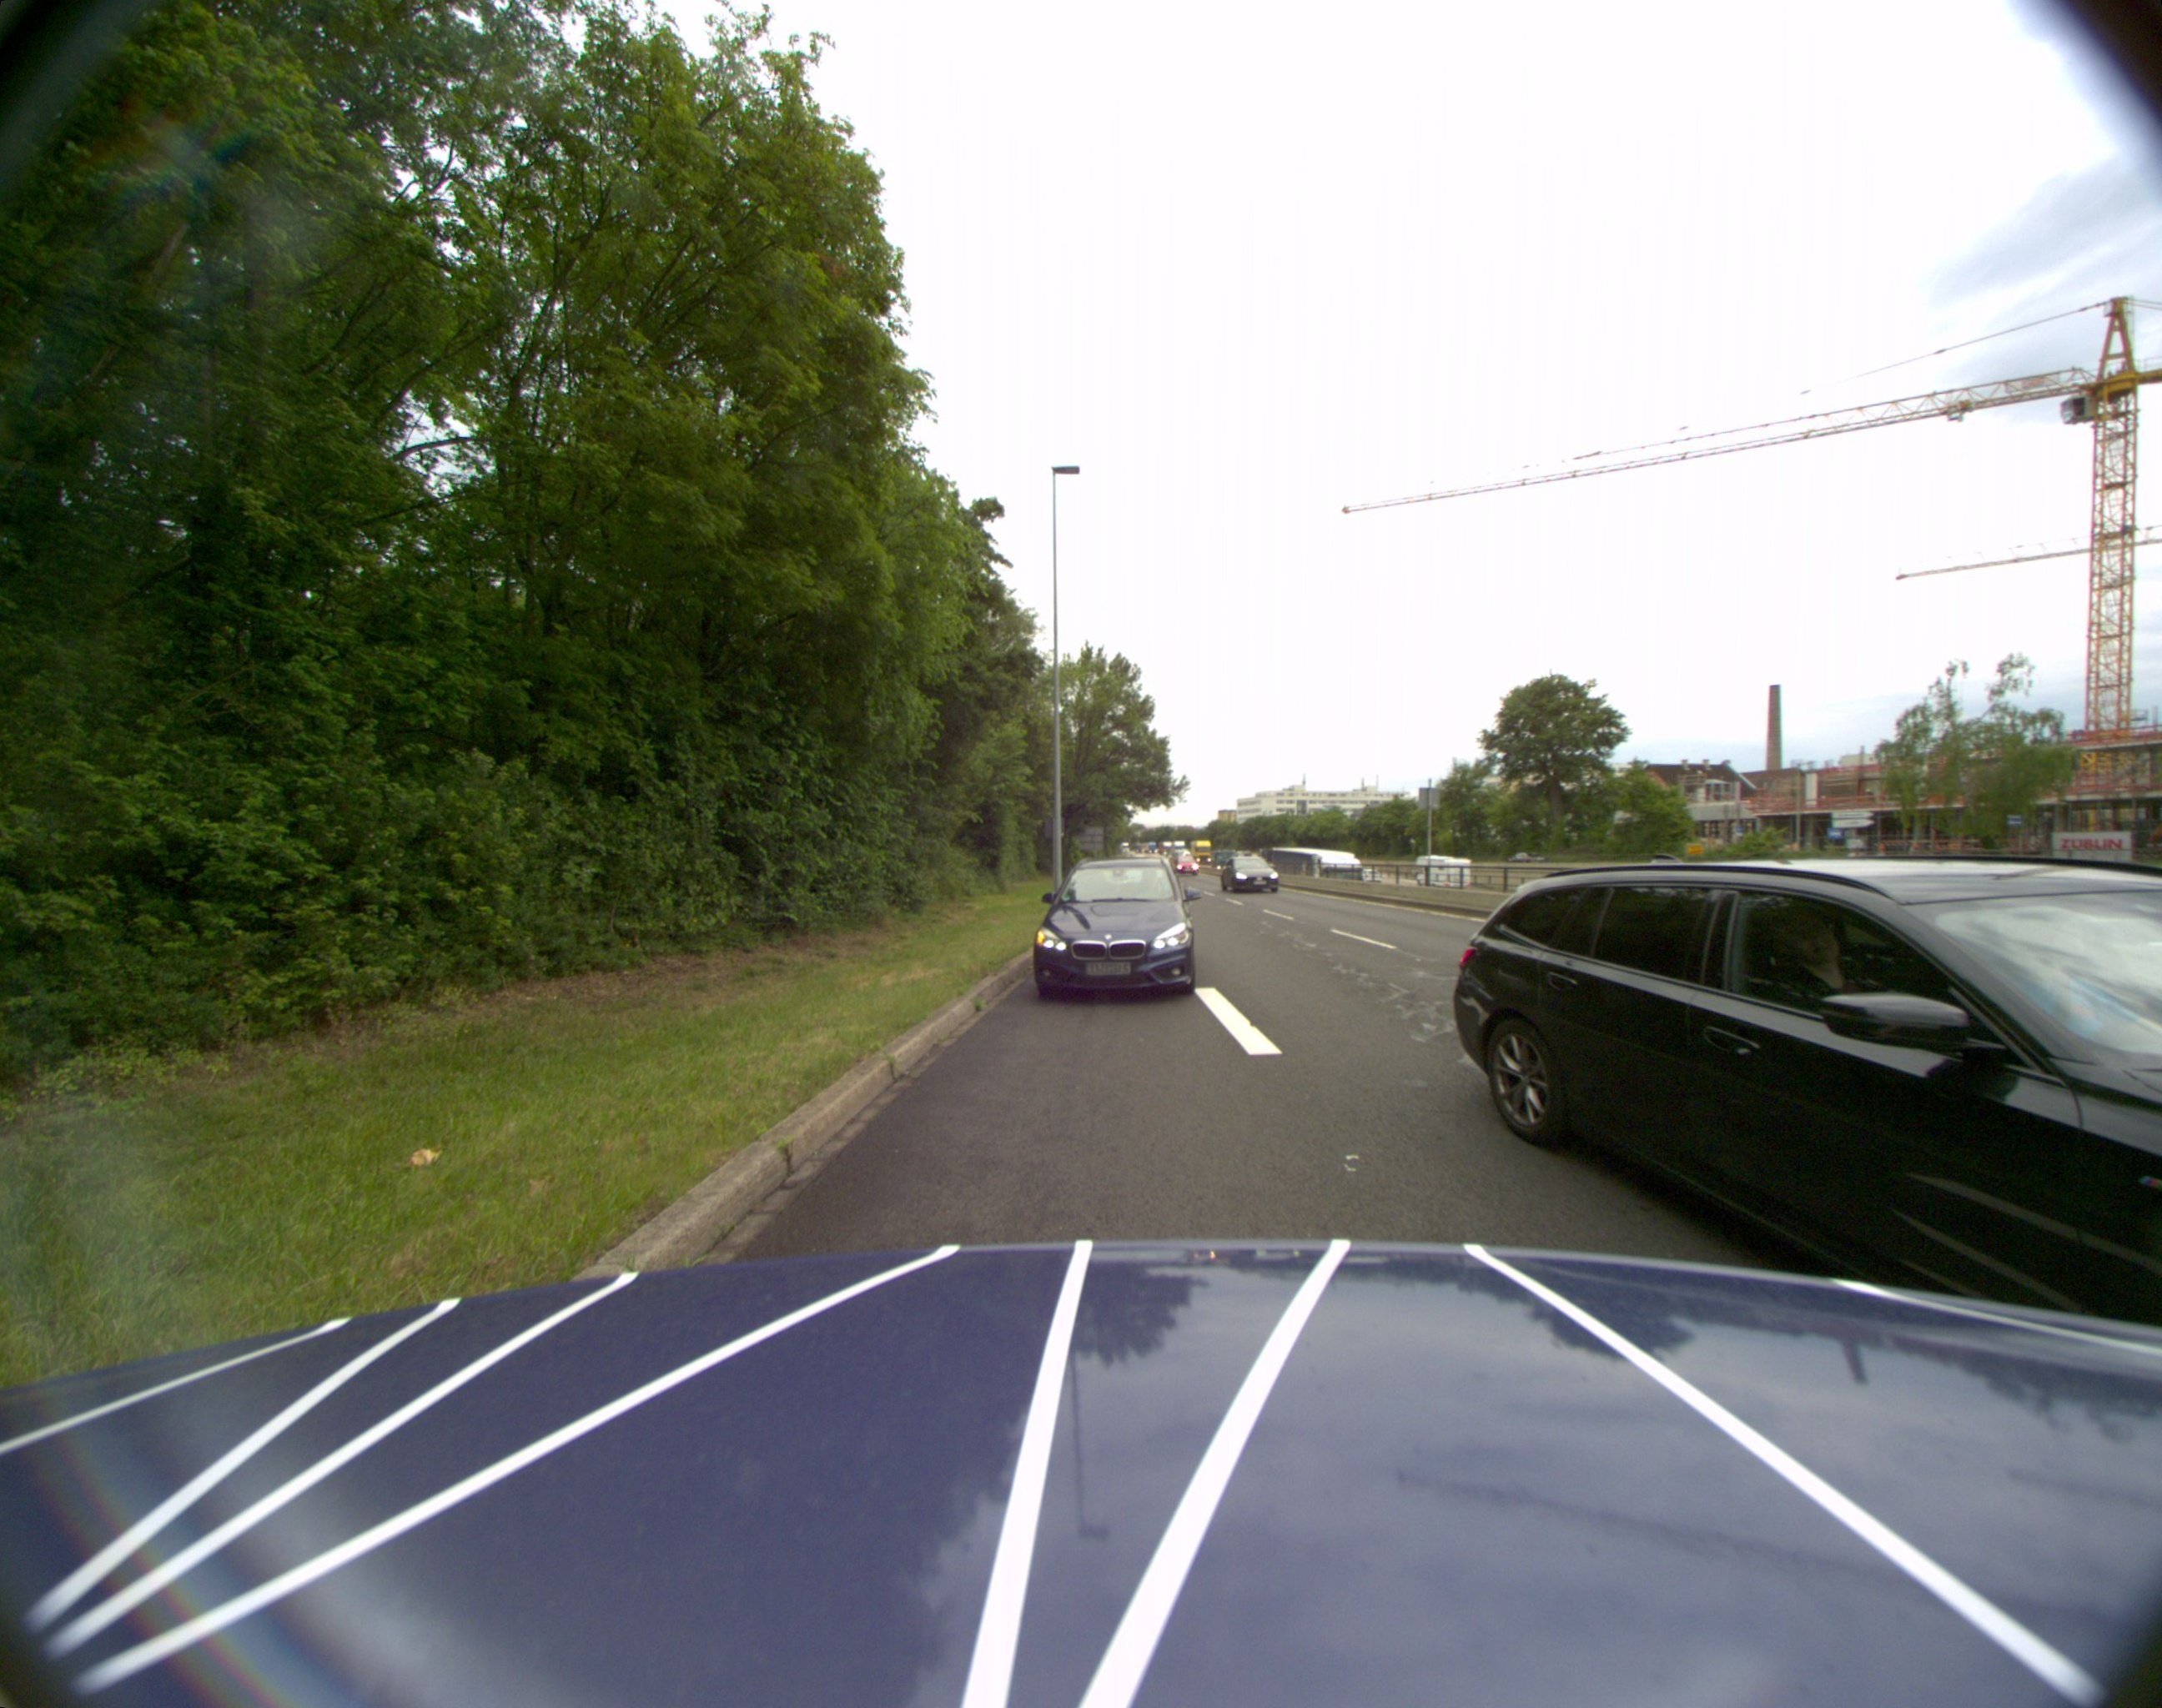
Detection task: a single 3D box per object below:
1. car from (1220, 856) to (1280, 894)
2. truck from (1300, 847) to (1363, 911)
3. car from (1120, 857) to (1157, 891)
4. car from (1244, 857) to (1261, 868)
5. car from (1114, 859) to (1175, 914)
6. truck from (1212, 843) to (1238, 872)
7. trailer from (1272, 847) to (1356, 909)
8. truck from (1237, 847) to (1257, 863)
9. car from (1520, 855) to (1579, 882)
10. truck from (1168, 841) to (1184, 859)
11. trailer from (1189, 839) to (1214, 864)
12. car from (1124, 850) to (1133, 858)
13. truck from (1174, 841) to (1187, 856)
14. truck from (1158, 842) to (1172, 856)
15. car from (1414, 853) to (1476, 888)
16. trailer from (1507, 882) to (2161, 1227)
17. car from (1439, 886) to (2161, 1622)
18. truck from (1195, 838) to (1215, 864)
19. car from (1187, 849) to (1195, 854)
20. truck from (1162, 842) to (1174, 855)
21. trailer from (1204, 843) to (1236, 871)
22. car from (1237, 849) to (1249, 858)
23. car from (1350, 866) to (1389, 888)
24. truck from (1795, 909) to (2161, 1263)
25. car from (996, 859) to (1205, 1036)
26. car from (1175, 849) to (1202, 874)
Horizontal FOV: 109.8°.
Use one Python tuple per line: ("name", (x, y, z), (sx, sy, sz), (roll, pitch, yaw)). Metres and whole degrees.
("car", (7.004, 0.828, 31.811), (1.702, 1.433, 4.000), (-2, 0, 2))
("truck", (16.561, 1.535, 50.568), (2.530, 4.013, 6.098), (0, 1, 4))
("car", (2.778, 0.937, 36.723), (1.627, 1.433, 4.001), (-2, 0, 4))
("car", (23.991, 1.152, 106.437), (1.627, 1.433, 4.001), (-2, 0, 4))
("car", (1.893, 0.917, 23.007), (1.627, 1.433, 4.001), (-2, 0, 4))
("truck", (19.171, 0.416, 101.175), (2.644, 3.614, 6.669), (0, 1, 4))
("trailer", (16.919, 1.484, 56.438), (2.530, 4.013, 14.786), (0, 1, 3))
("truck", (42.672, 0.096, 195.847), (2.956, 4.013, 13.781), (0, 1, 4))
("car", (43.825, 1.317, 71.264), (2.341, 2.446, 5.227), (-1, 0, 1))
("truck", (16.449, -0.745, 132.435), (2.523, 2.961, 13.783), (0, 1, 6))
("trailer", (22.238, -0.620, 141.703), (2.897, 4.328, 19.925), (0, 1, 4))
("car", (12.438, -0.066, 198.376), (1.998, 2.002, 4.000), (-1, 0, 1))
("truck", (26.477, -1.546, 202.672), (2.955, 4.013, 13.783), (0, 1, 6))
("truck", (18.952, -1.195, 171.261), (2.955, 3.167, 13.783), (0, 1, 6))
("car", (33.309, 1.428, 69.911), (2.514, 3.011, 7.514), (-1, 0, 4))
("trailer", (15.114, 3.021, 17.641), (2.658, 4.013, 14.554), (0, 1, 2))
("car", (3.094, 0.886, 2.340), (1.753, 1.418, 4.461), (-1, -1, -2))
("truck", (21.557, -0.538, 132.187), (2.892, 4.319, 6.520), (0, 1, 4))
("car", (32.032, -0.795, 221.296), (1.998, 1.543, 4.000), (-2, 0, 1))
("truck", (27.884, -1.764, 244.938), (2.531, 4.013, 13.777), (0, 1, 1))
("trailer", (19.691, 0.318, 108.789), (2.613, 3.620, 16.752), (0, 1, 4))
("car", (38.027, -0.106, 178.509), (1.998, 2.002, 5.487), (-1, 0, 4))
("car", (29.429, 2.292, 77.713), (1.998, 2.002, 5.486), (-1, 0, 1))
("truck", (14.913, 3.083, 11.339), (2.711, 4.013, 6.202), (0, 1, 1))
("car", (0.516, 0.902, 9.336), (1.783, 1.554, 4.425), (-2, 0, 11))
("car", (8.574, 0.652, 61.067), (1.768, 1.785, 4.581), (2, -2, 4))
